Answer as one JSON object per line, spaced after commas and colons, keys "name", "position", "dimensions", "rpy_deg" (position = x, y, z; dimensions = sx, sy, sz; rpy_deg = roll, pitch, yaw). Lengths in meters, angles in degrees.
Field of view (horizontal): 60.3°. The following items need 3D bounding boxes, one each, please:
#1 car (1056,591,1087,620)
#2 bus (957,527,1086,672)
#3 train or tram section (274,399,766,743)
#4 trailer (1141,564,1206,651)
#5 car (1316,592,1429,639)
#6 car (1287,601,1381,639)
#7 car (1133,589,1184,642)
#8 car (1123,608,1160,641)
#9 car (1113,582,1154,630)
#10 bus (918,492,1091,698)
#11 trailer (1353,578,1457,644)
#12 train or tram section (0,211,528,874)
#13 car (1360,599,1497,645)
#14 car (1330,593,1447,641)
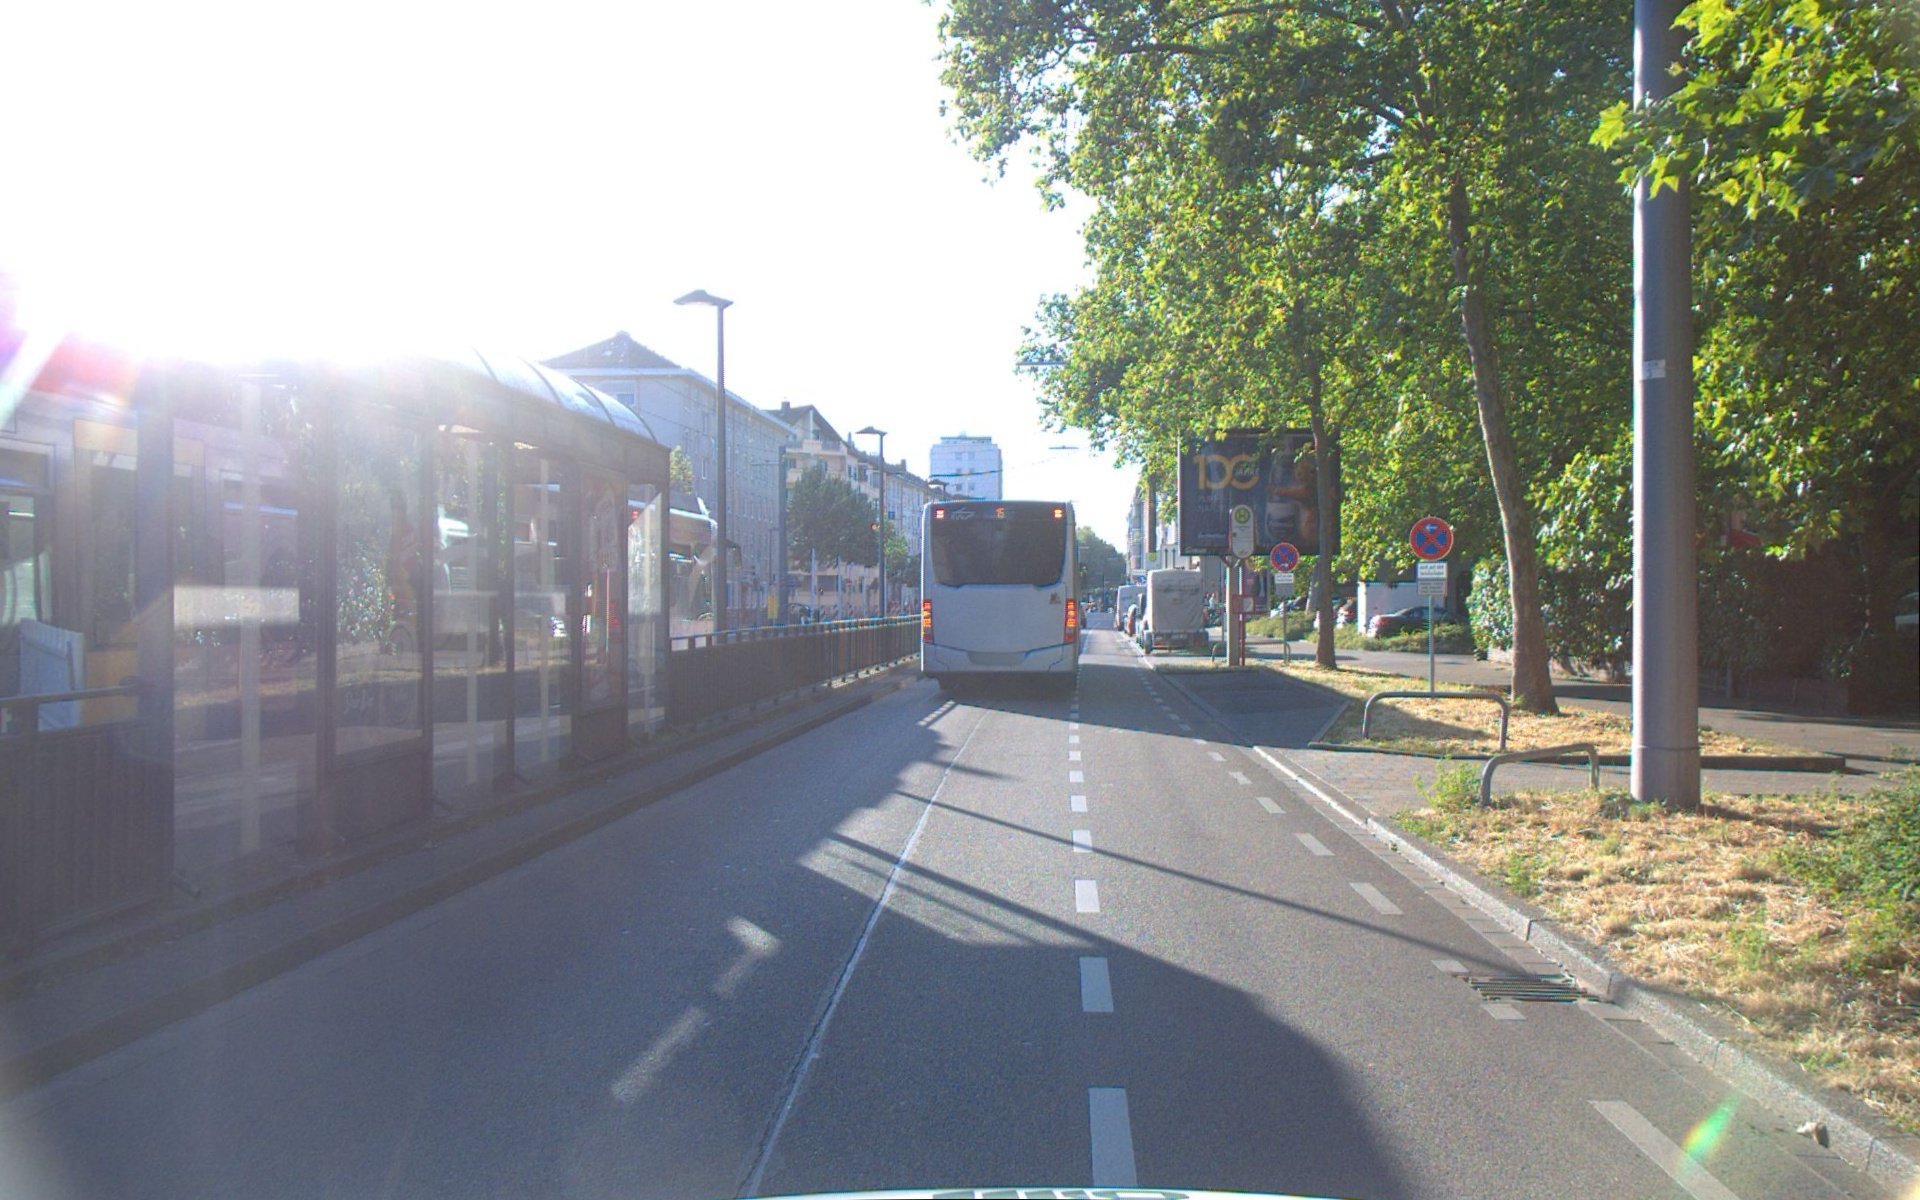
{"name": "car", "position": [7.251, 0.342, 107.287], "dimensions": [1.951, 1.847, 4.003], "rpy_deg": [0, 0, 5]}
{"name": "bus", "position": [1.683, -0.018, 40.825], "dimensions": [2.651, 3.161, 8.985], "rpy_deg": [0, 0, 5]}
{"name": "train or tram section", "position": [-5.410, -0.298, 23.988], "dimensions": [2.585, 3.581, 13.341], "rpy_deg": [0, 0, 4]}
{"name": "trailer", "position": [6.662, 0.233, 51.843], "dimensions": [1.794, 2.602, 3.320], "rpy_deg": [-1, 0, 4]}
{"name": "car", "position": [15.368, 0.570, 61.772], "dimensions": [3.838, 1.666, 1.707], "rpy_deg": [-1, -1, 4]}
{"name": "car", "position": [16.494, 0.896, 73.114], "dimensions": [3.838, 1.616, 1.707], "rpy_deg": [-1, -1, 4]}
{"name": "car", "position": [7.781, 0.589, 65.073], "dimensions": [1.808, 1.991, 4.546], "rpy_deg": [-1, 0, 4]}
{"name": "car", "position": [8.861, 1.196, 81.034], "dimensions": [1.636, 1.488, 3.935], "rpy_deg": [-2, -1, 4]}
{"name": "car", "position": [10.146, 0.363, 97.125], "dimensions": [2.234, 2.673, 5.312], "rpy_deg": [-1, 0, 4]}
{"name": "bus", "position": [0.959, -0.083, 31.042], "dimensions": [2.676, 3.194, 10.707], "rpy_deg": [0, 0, 3]}
{"name": "trailer", "position": [14.540, 0.363, 54.170], "dimensions": [2.999, 2.106, 1.880], "rpy_deg": [0, 0, 5]}
{"name": "train or tram section", "position": [-6.398, -0.308, 11.168], "dimensions": [2.671, 3.611, 12.791], "rpy_deg": [0, 0, 4]}
{"name": "car", "position": [14.532, 0.671, 51.471], "dimensions": [3.837, 1.359, 1.707], "rpy_deg": [-1, -1, 5]}
{"name": "car", "position": [15.356, 0.600, 59.402], "dimensions": [3.838, 1.665, 1.707], "rpy_deg": [-1, -1, 4]}
